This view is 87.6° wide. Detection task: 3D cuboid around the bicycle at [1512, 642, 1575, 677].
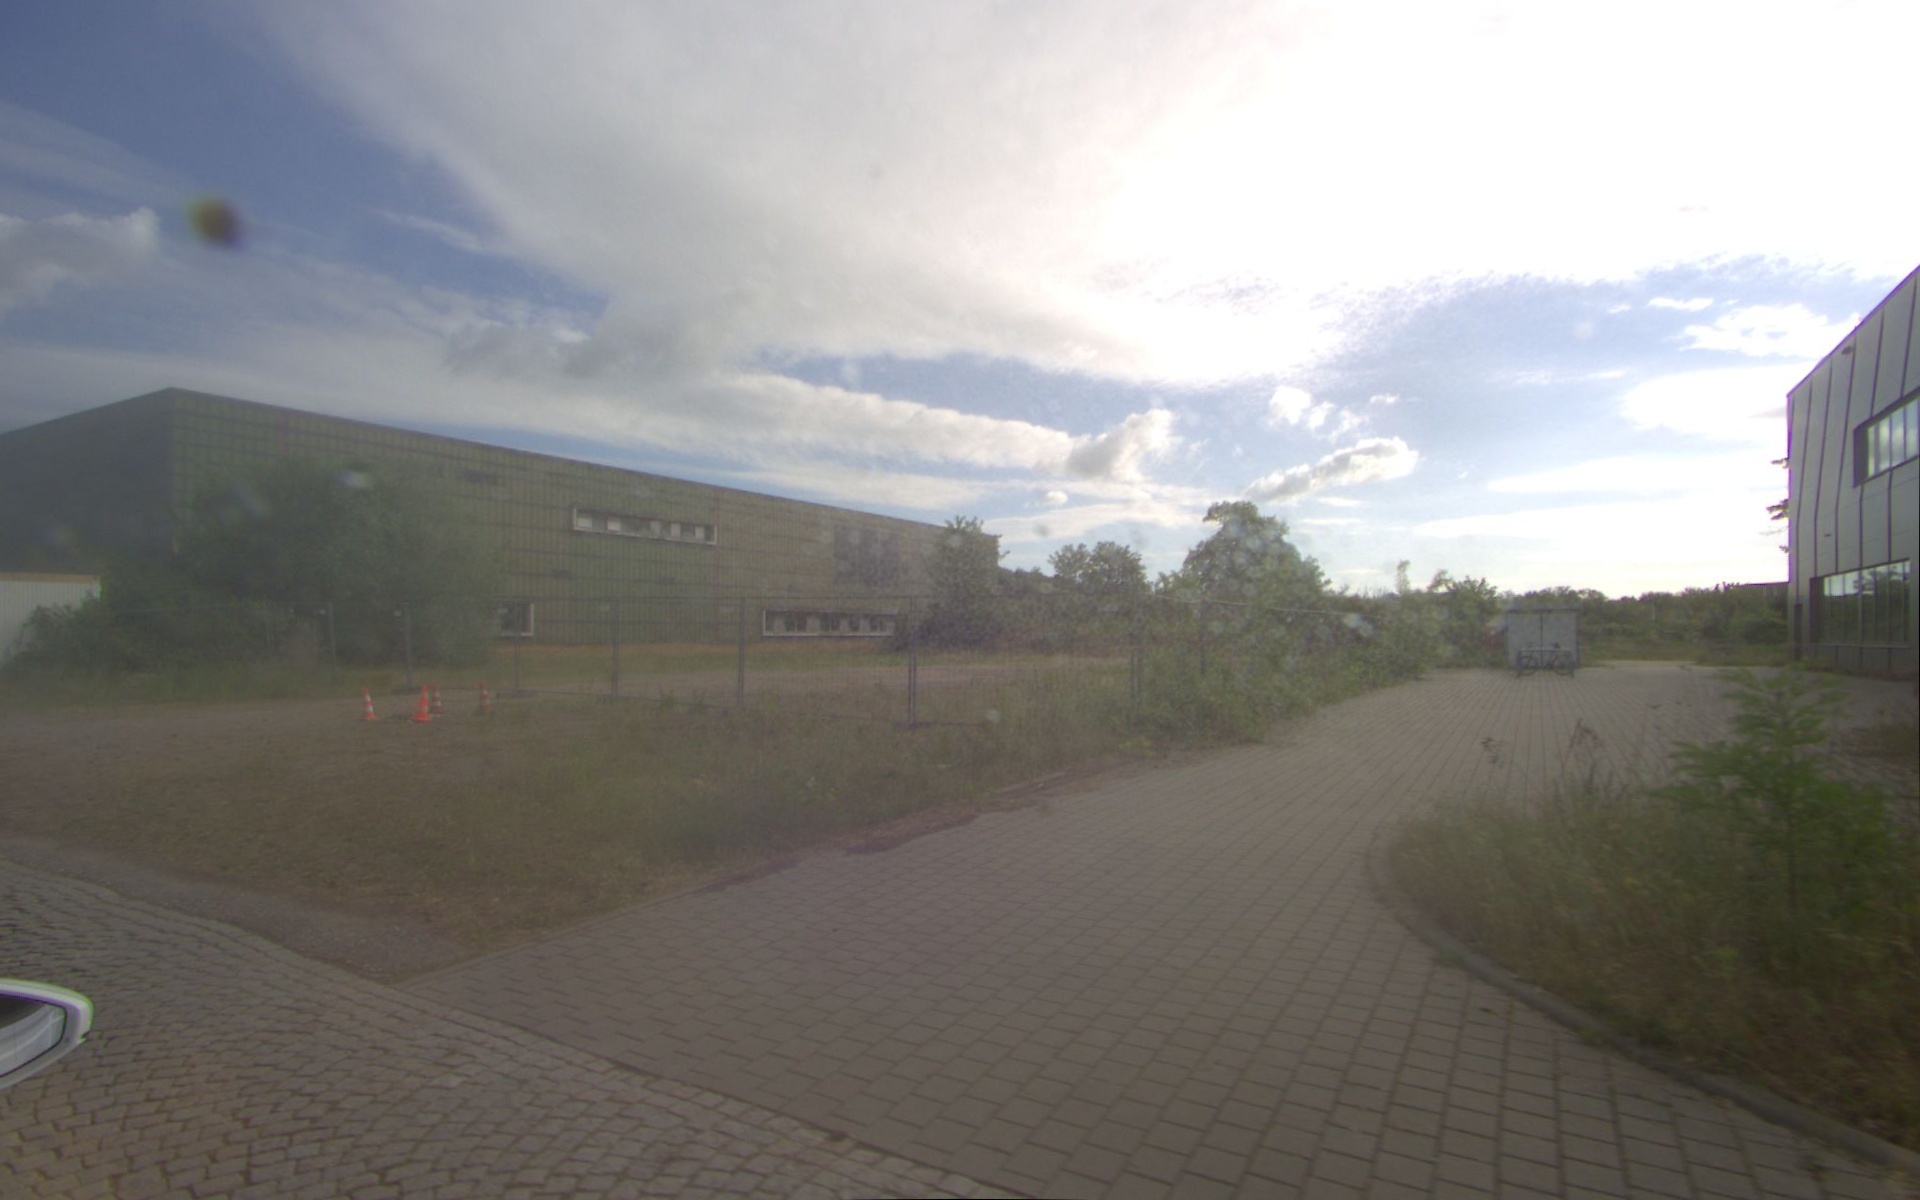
[{"bbox_3d":[19.071,1.932,32.747,1.738,1.112,0.520,-1,-3,32],"label":"bicycle"}]
